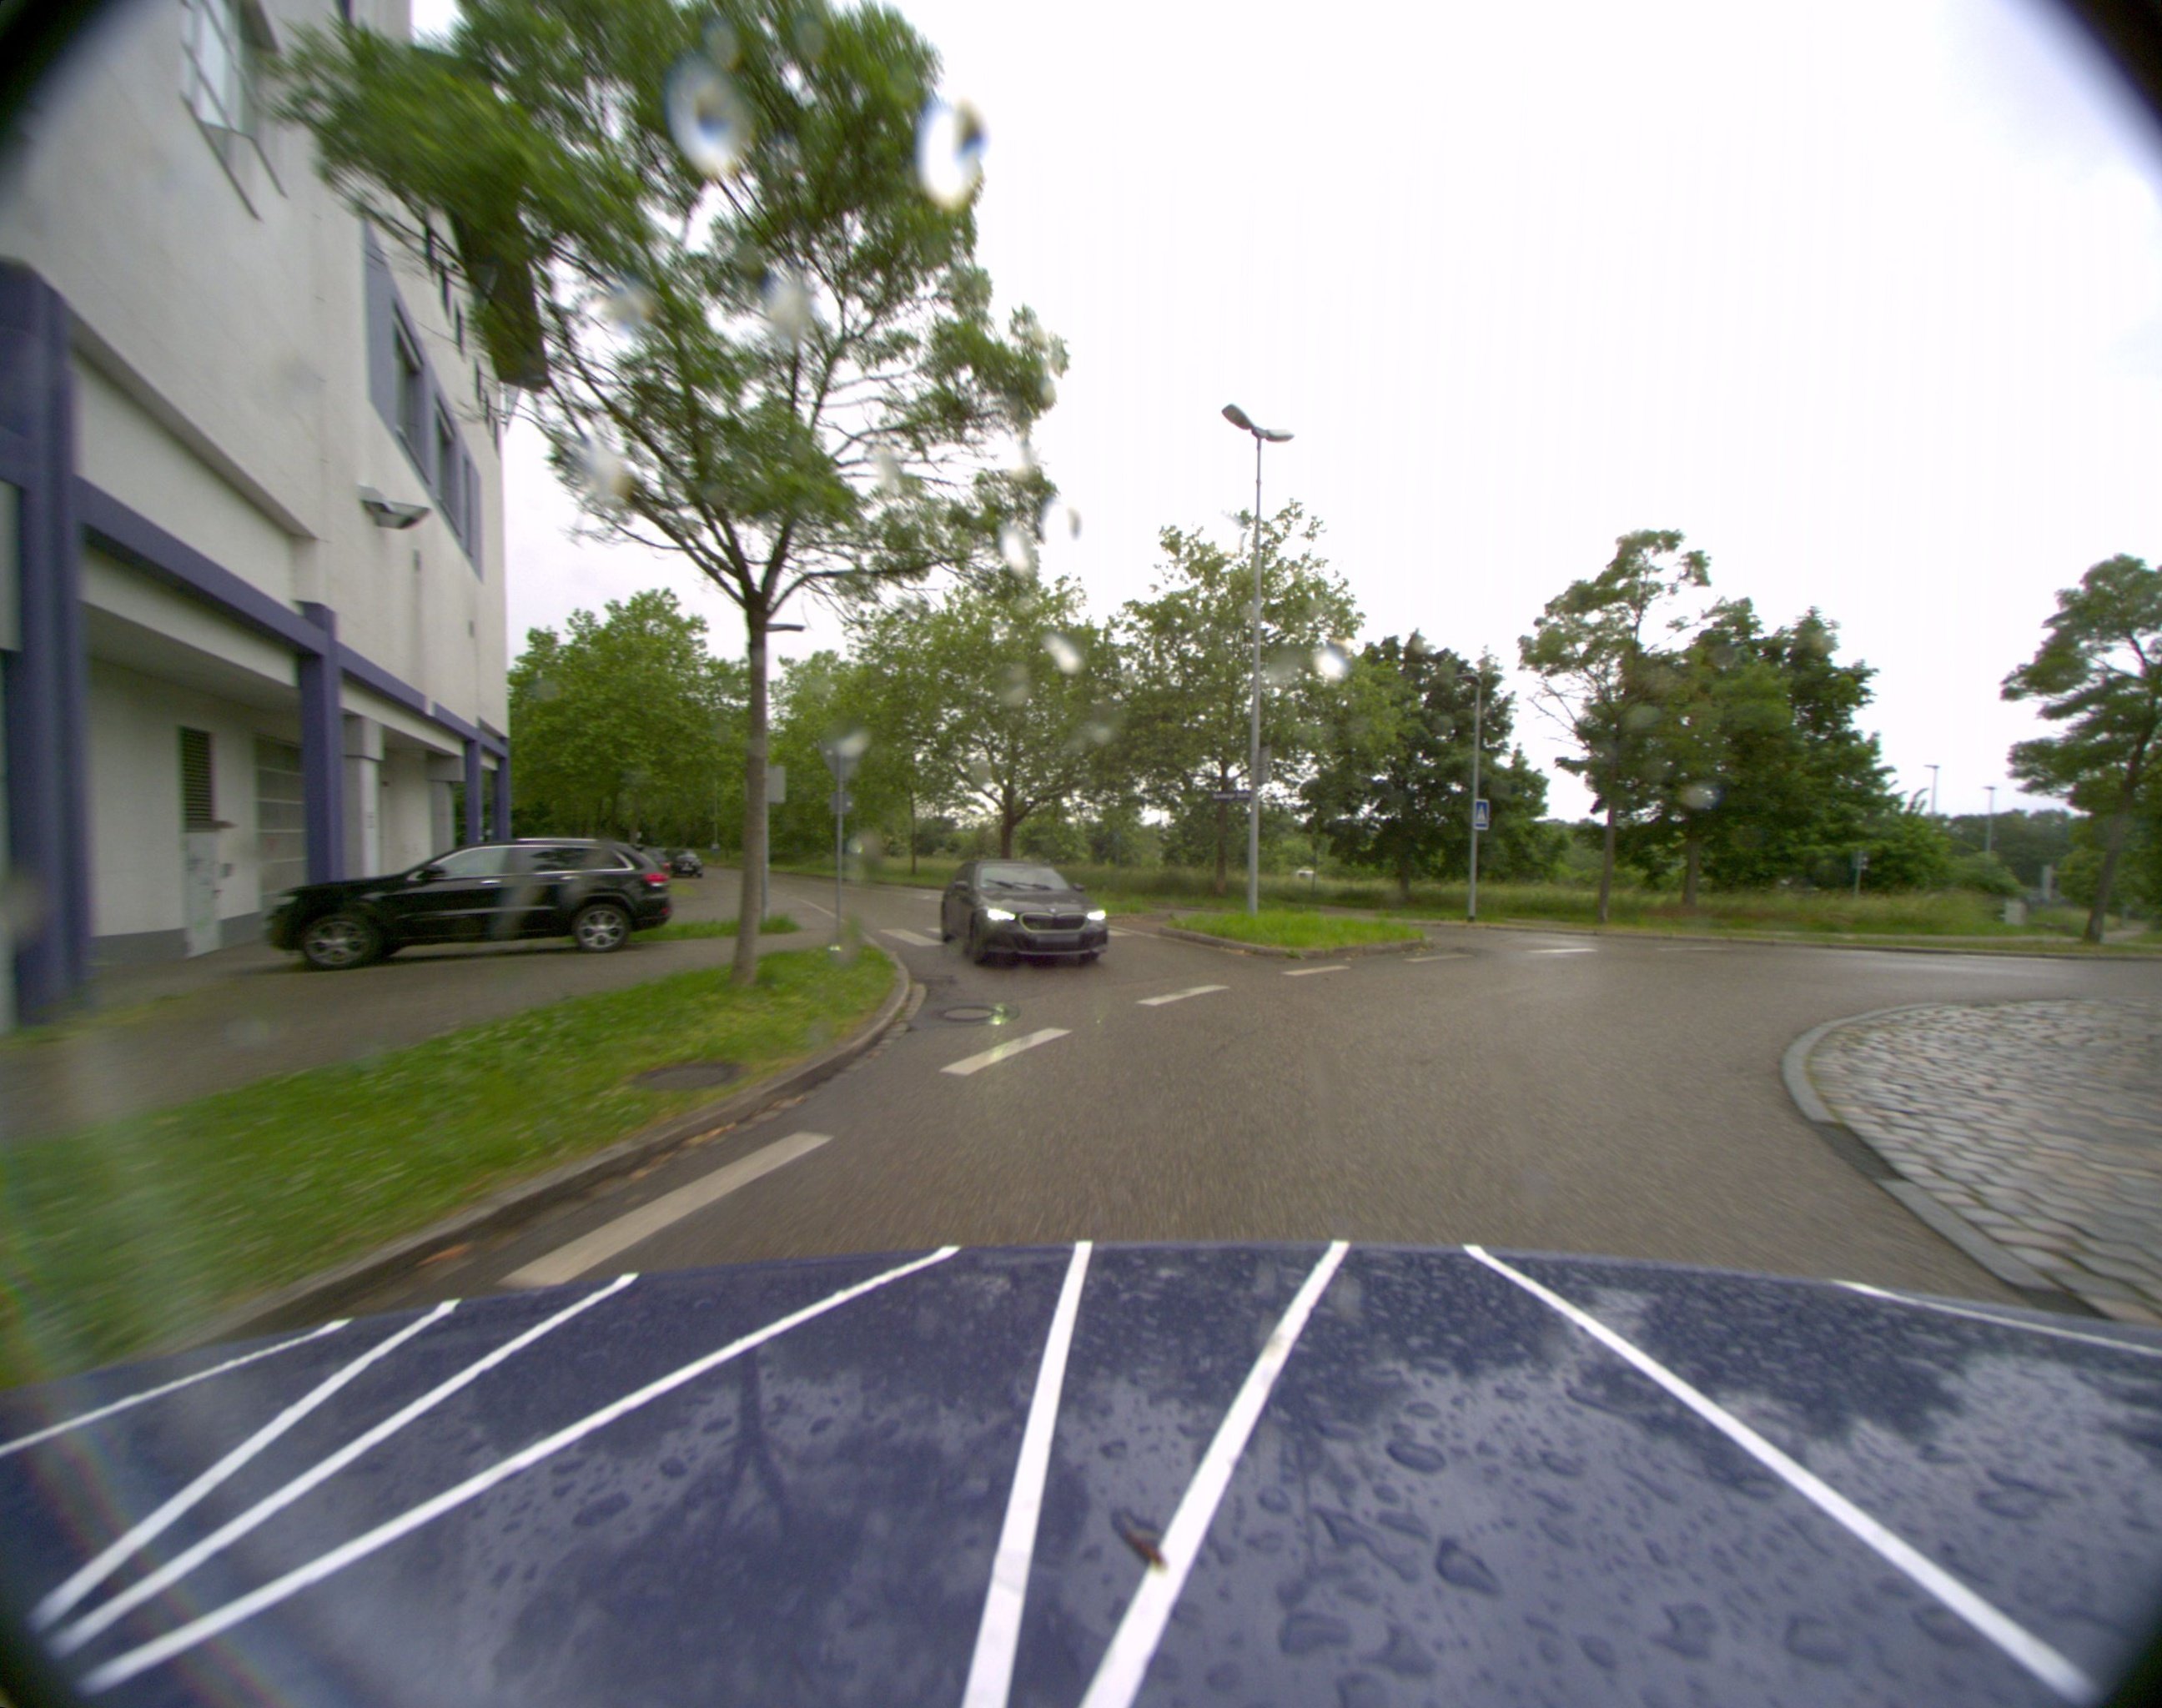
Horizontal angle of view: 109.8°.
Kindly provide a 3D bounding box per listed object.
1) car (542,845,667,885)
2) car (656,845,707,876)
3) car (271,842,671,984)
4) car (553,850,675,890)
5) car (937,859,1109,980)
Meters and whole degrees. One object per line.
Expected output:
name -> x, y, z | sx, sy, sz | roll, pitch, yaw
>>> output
car -> -20.687, 0.442, 33.077 | 4.494, 1.670, 1.763 | 0, 0, -36
car -> -22.515, 0.339, 42.759 | 1.811, 1.592, 4.358 | 1, 1, -37
car -> -8.781, 0.738, 11.502 | 4.399, 1.749, 1.825 | -1, 0, -32
car -> -19.096, 0.600, 31.113 | 4.127, 1.470, 1.716 | 0, 3, -36
car -> -1.193, 0.880, 12.608 | 1.846, 1.486, 4.893 | -1, 1, -17
